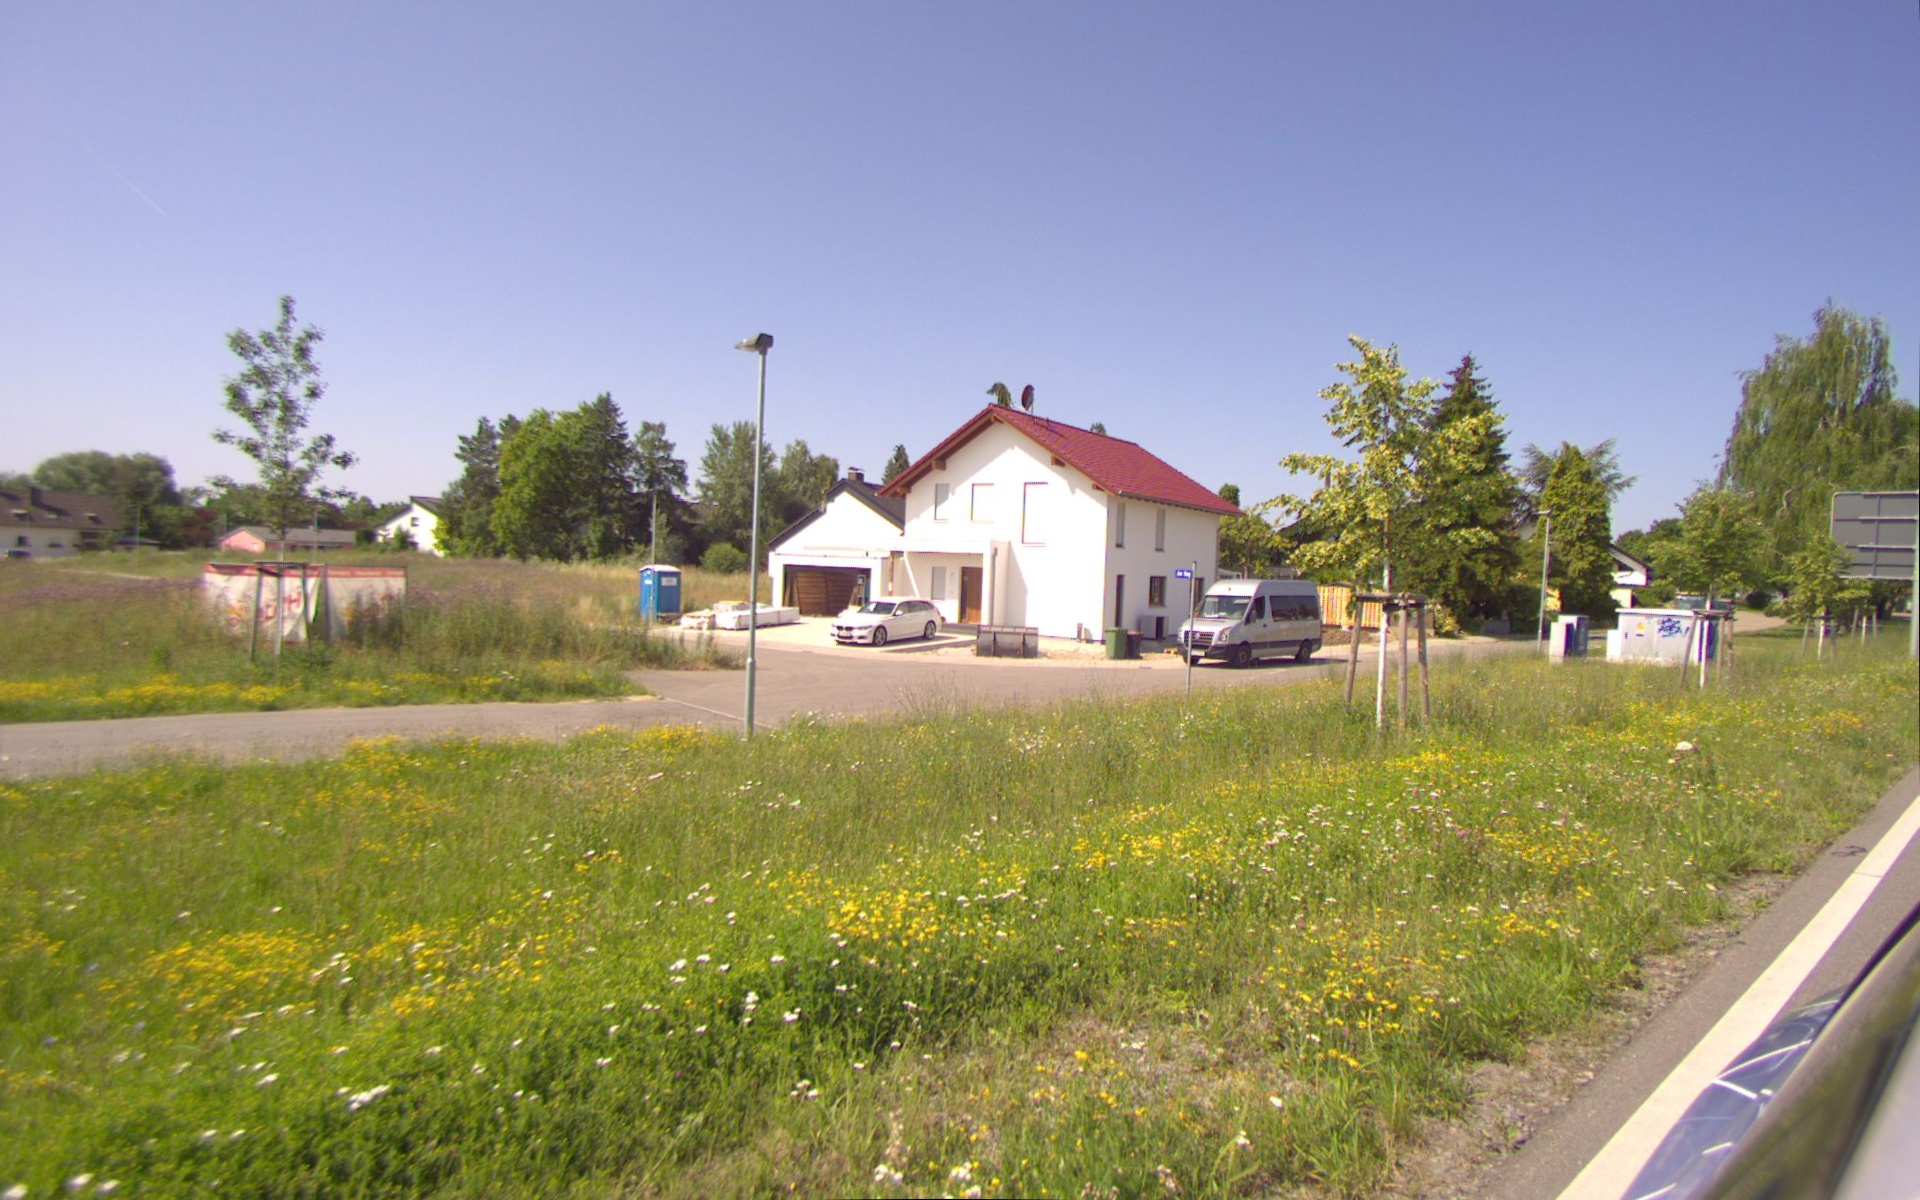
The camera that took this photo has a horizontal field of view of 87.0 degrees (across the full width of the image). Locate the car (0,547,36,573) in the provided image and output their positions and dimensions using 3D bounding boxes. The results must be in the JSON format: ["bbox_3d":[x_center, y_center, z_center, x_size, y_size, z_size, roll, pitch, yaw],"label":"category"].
[{"bbox_3d":[-64.317,-2.729,68.534,3.975,1.537,1.721,5,3,35],"label":"car"}]

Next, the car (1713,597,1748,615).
[{"bbox_3d":[65.315,0.491,85.761,1.859,1.463,4.101,1,1,45],"label":"car"}]

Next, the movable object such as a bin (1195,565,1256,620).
[{"bbox_3d":[13.157,-0.396,50.239,2.838,2.589,1.779,2,1,15],"label":"movable object such as a bin"}]

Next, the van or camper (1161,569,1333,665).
[{"bbox_3d":[8.872,0.429,30.947,5.926,2.633,2.176,-1,2,-42],"label":"van or camper"}]

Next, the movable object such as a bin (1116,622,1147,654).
[{"bbox_3d":[5.300,1.171,31.313,0.627,0.949,0.694,1,1,-37],"label":"movable object such as a bin"}]

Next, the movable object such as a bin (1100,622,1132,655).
[{"bbox_3d":[4.762,1.174,30.897,0.627,0.949,0.694,1,1,-37],"label":"movable object such as a bin"}]

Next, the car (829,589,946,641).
[{"bbox_3d":[-2.327,0.445,33.648,1.553,1.577,4.434,1,1,33],"label":"car"}]

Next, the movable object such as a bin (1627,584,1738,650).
[{"bbox_3d":[30.251,0.632,42.286,6.826,2.493,2.320,0,2,-42],"label":"movable object such as a bin"}]
